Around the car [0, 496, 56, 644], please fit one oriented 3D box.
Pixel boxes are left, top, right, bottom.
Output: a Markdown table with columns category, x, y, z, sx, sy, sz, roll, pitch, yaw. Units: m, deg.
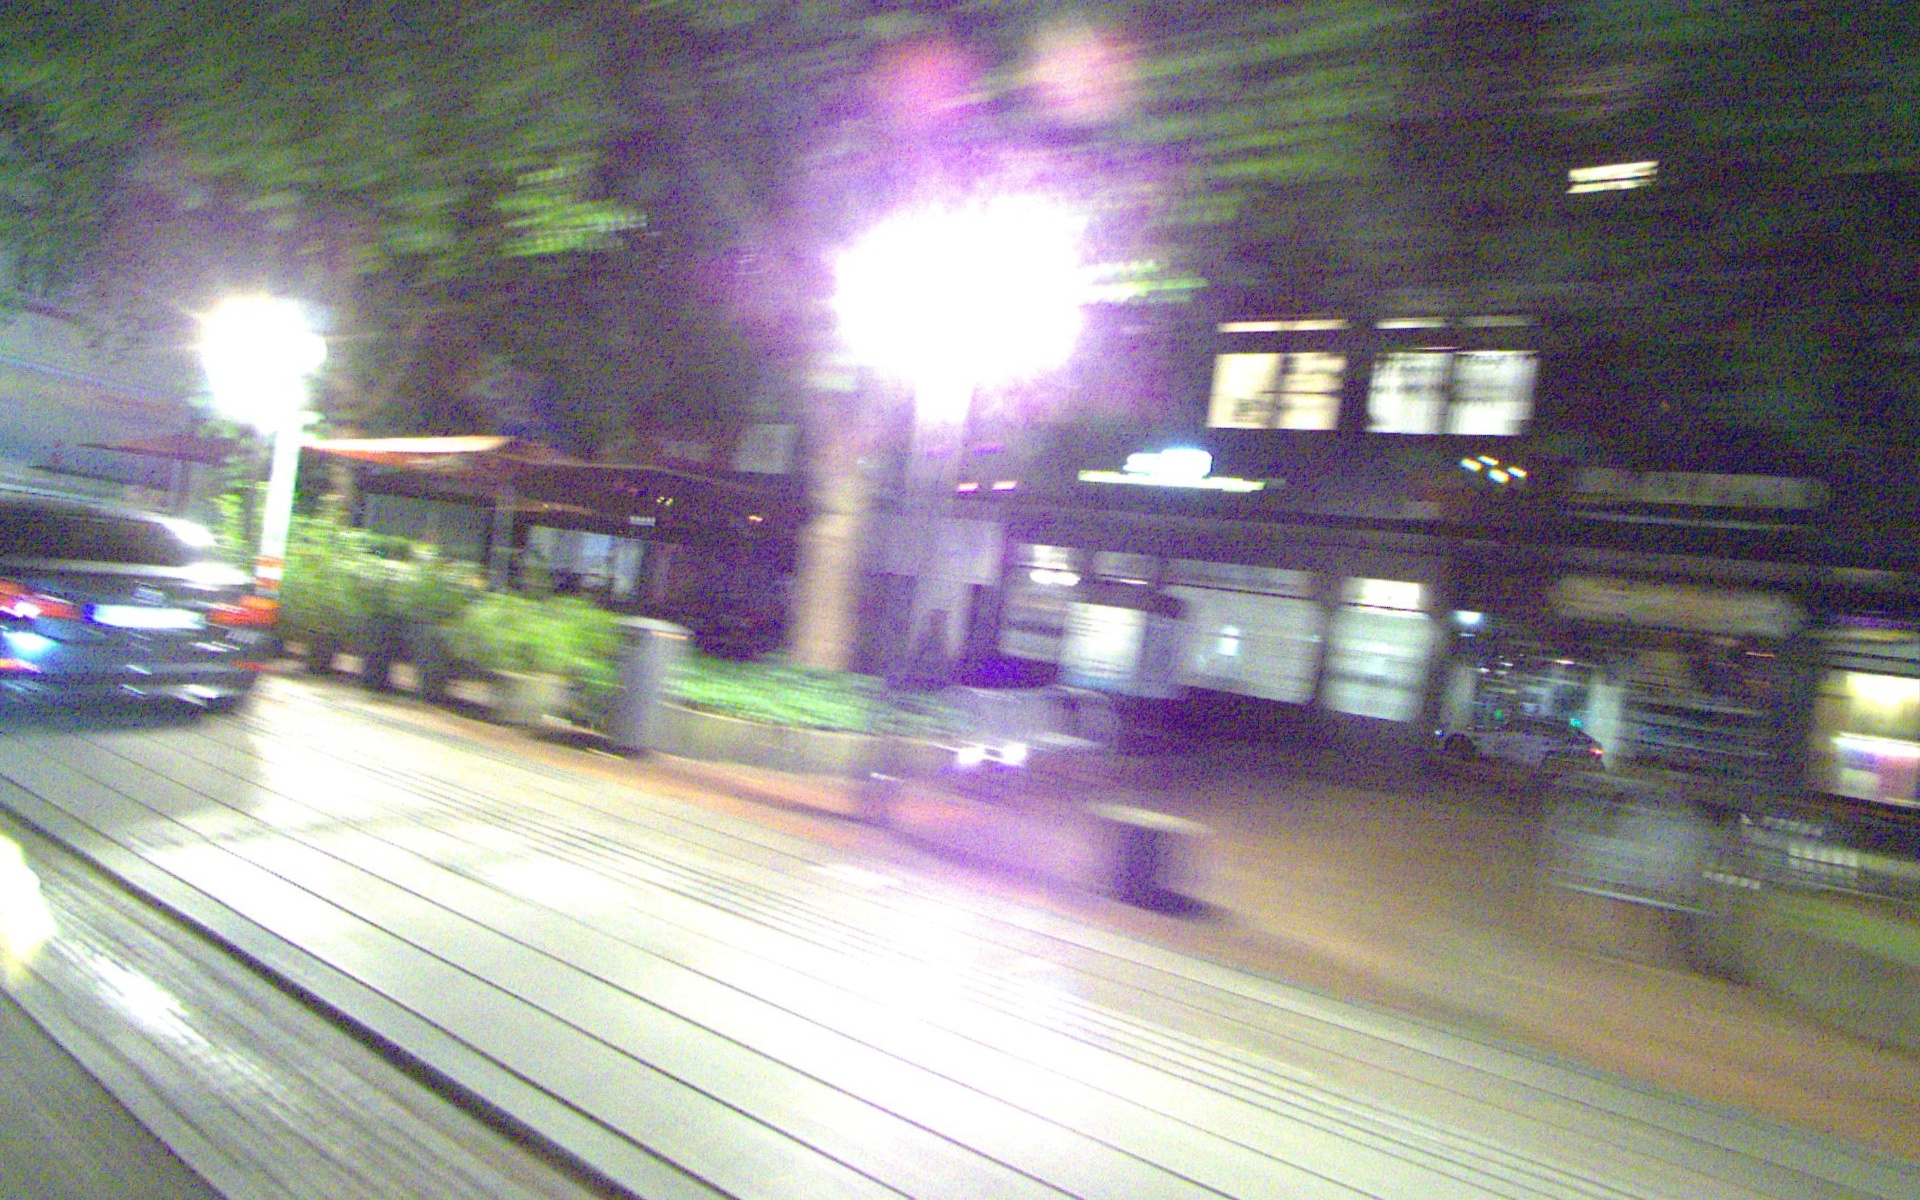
| category | x | y | z | sx | sy | sz | roll | pitch | yaw |
| --- | --- | --- | --- | --- | --- | --- | --- | --- | --- |
| car | -11.087 | -0.509 | 10.374 | 4.038 | 1.395 | 1.661 | 7 | 1 | 34 |

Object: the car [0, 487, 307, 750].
| category | x | y | z | sx | sy | sz | roll | pitch | yaw |
| --- | --- | --- | --- | --- | --- | --- | --- | --- | --- |
| car | -6.877 | -0.056 | 7.487 | 4.395 | 1.482 | 1.754 | 7 | 1 | 34 |
